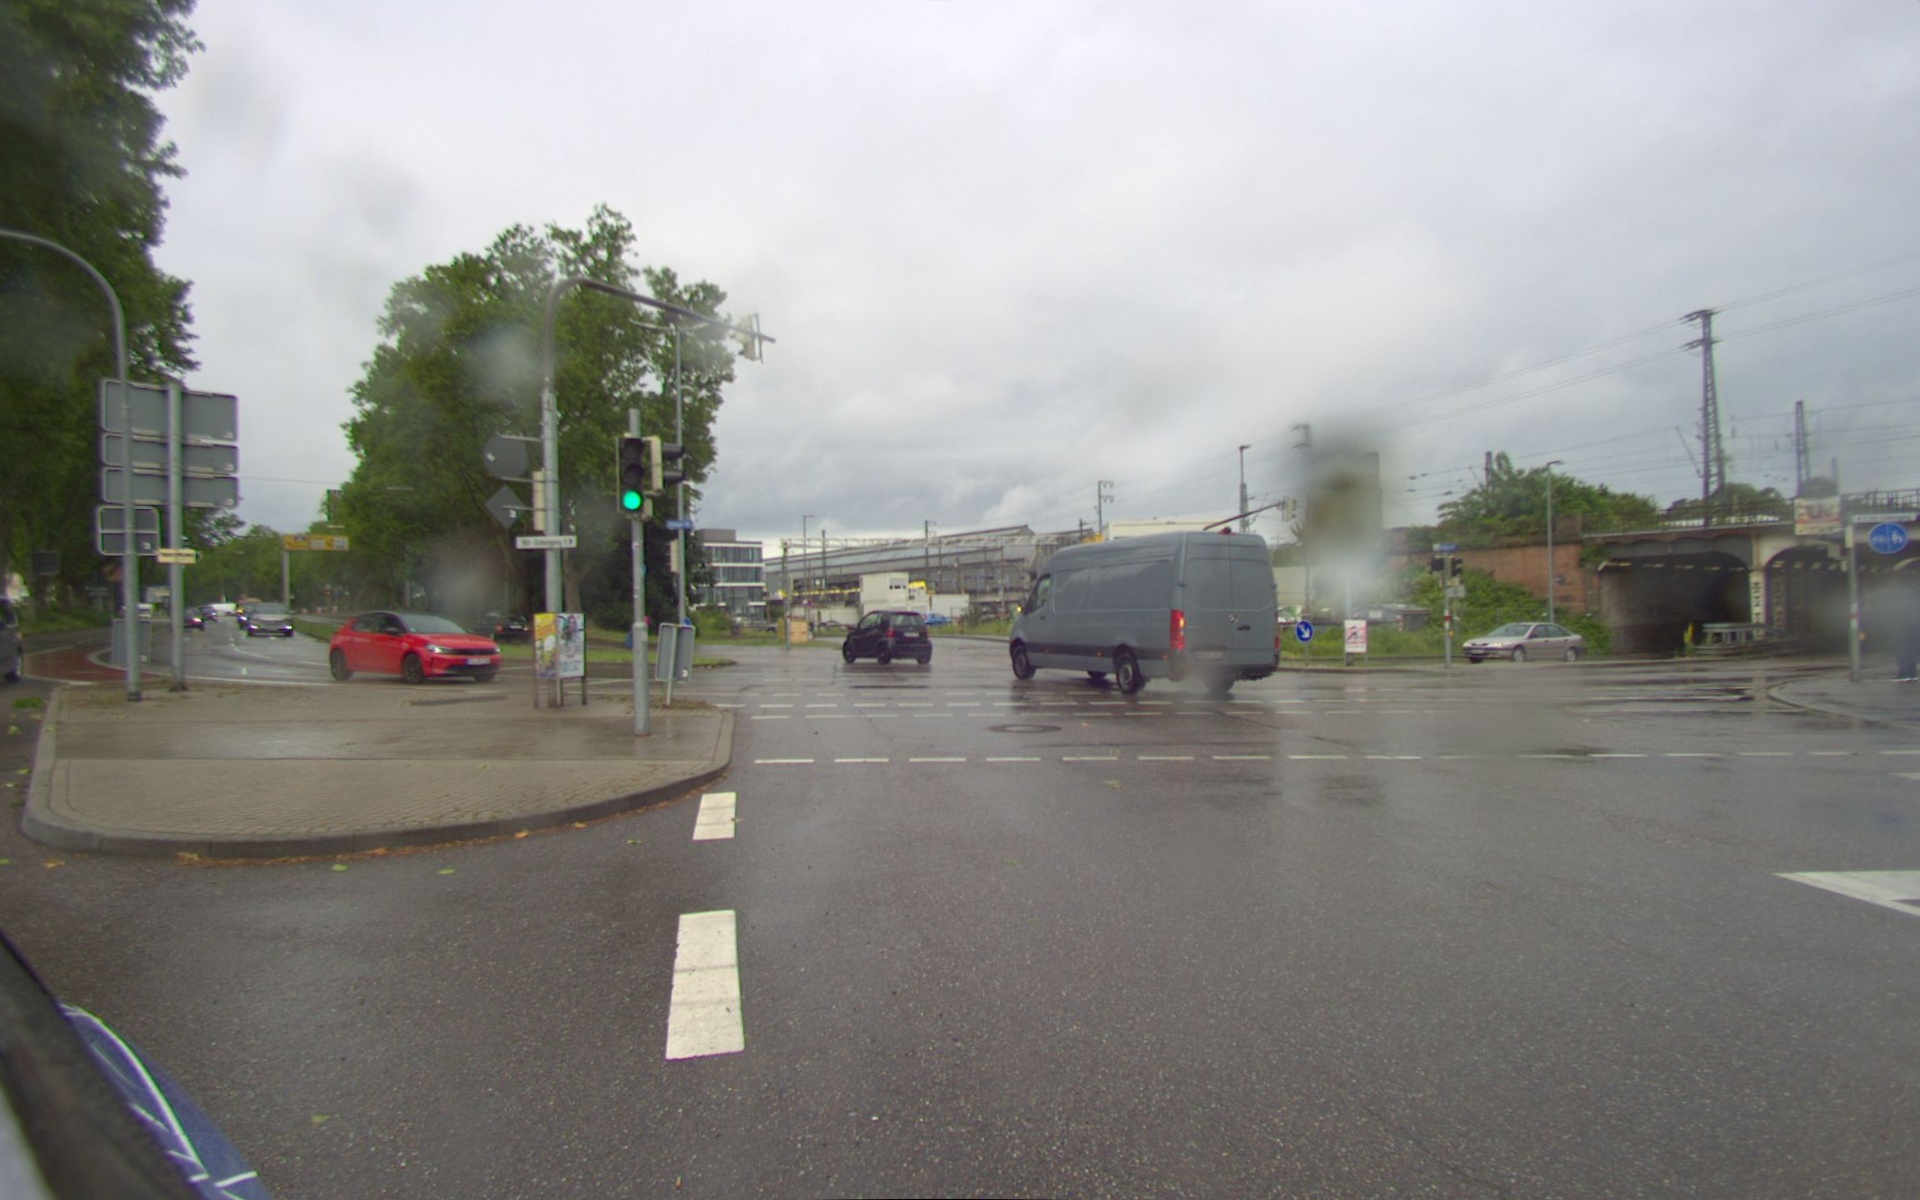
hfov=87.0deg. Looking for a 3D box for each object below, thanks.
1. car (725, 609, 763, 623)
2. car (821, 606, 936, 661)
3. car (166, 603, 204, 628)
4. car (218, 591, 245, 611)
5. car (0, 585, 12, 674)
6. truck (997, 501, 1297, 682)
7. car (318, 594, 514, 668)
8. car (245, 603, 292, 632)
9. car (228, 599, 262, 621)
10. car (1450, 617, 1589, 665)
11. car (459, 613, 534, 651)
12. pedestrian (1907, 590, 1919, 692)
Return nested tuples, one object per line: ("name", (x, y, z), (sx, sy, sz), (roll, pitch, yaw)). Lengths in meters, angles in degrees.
("car", (-25.252, 1.879, 118.424), (3.935, 1.620, 1.791), (-1, -1, -37))
("car", (-2.402, 0.992, 29.172), (1.623, 1.463, 3.538), (1, -4, -38))
("car", (-46.796, 0.981, 61.168), (1.716, 1.457, 4.009), (1, -2, -36))
("car", (-63.137, 0.122, 87.751), (1.824, 1.614, 4.511), (1, -2, -36))
("car", (-18.973, 0.572, 18.535), (1.809, 1.737, 4.182), (-1, 0, -36))
("truck", (2.949, -0.089, 18.353), (2.055, 2.639, 7.000), (0, -1, -20))
("car", (-11.238, 0.630, 20.869), (3.983, 1.392, 1.727), (-1, -2, 30))
("car", (-34.787, 0.922, 50.880), (1.716, 1.392, 4.008), (1, -2, -37))
("car", (-45.270, 0.632, 64.026), (1.618, 1.364, 3.783), (0, -1, -38))
("car", (18.707, 1.339, 33.822), (4.353, 1.497, 1.738), (1, -1, -23))
("car", (-21.382, 1.445, 46.645), (1.970, 1.654, 4.004), (0, -1, -43))
("pedestrian", (18.726, 0.762, 19.148), (1.305, 1.923, 0.921), (-1, -1, -36))
